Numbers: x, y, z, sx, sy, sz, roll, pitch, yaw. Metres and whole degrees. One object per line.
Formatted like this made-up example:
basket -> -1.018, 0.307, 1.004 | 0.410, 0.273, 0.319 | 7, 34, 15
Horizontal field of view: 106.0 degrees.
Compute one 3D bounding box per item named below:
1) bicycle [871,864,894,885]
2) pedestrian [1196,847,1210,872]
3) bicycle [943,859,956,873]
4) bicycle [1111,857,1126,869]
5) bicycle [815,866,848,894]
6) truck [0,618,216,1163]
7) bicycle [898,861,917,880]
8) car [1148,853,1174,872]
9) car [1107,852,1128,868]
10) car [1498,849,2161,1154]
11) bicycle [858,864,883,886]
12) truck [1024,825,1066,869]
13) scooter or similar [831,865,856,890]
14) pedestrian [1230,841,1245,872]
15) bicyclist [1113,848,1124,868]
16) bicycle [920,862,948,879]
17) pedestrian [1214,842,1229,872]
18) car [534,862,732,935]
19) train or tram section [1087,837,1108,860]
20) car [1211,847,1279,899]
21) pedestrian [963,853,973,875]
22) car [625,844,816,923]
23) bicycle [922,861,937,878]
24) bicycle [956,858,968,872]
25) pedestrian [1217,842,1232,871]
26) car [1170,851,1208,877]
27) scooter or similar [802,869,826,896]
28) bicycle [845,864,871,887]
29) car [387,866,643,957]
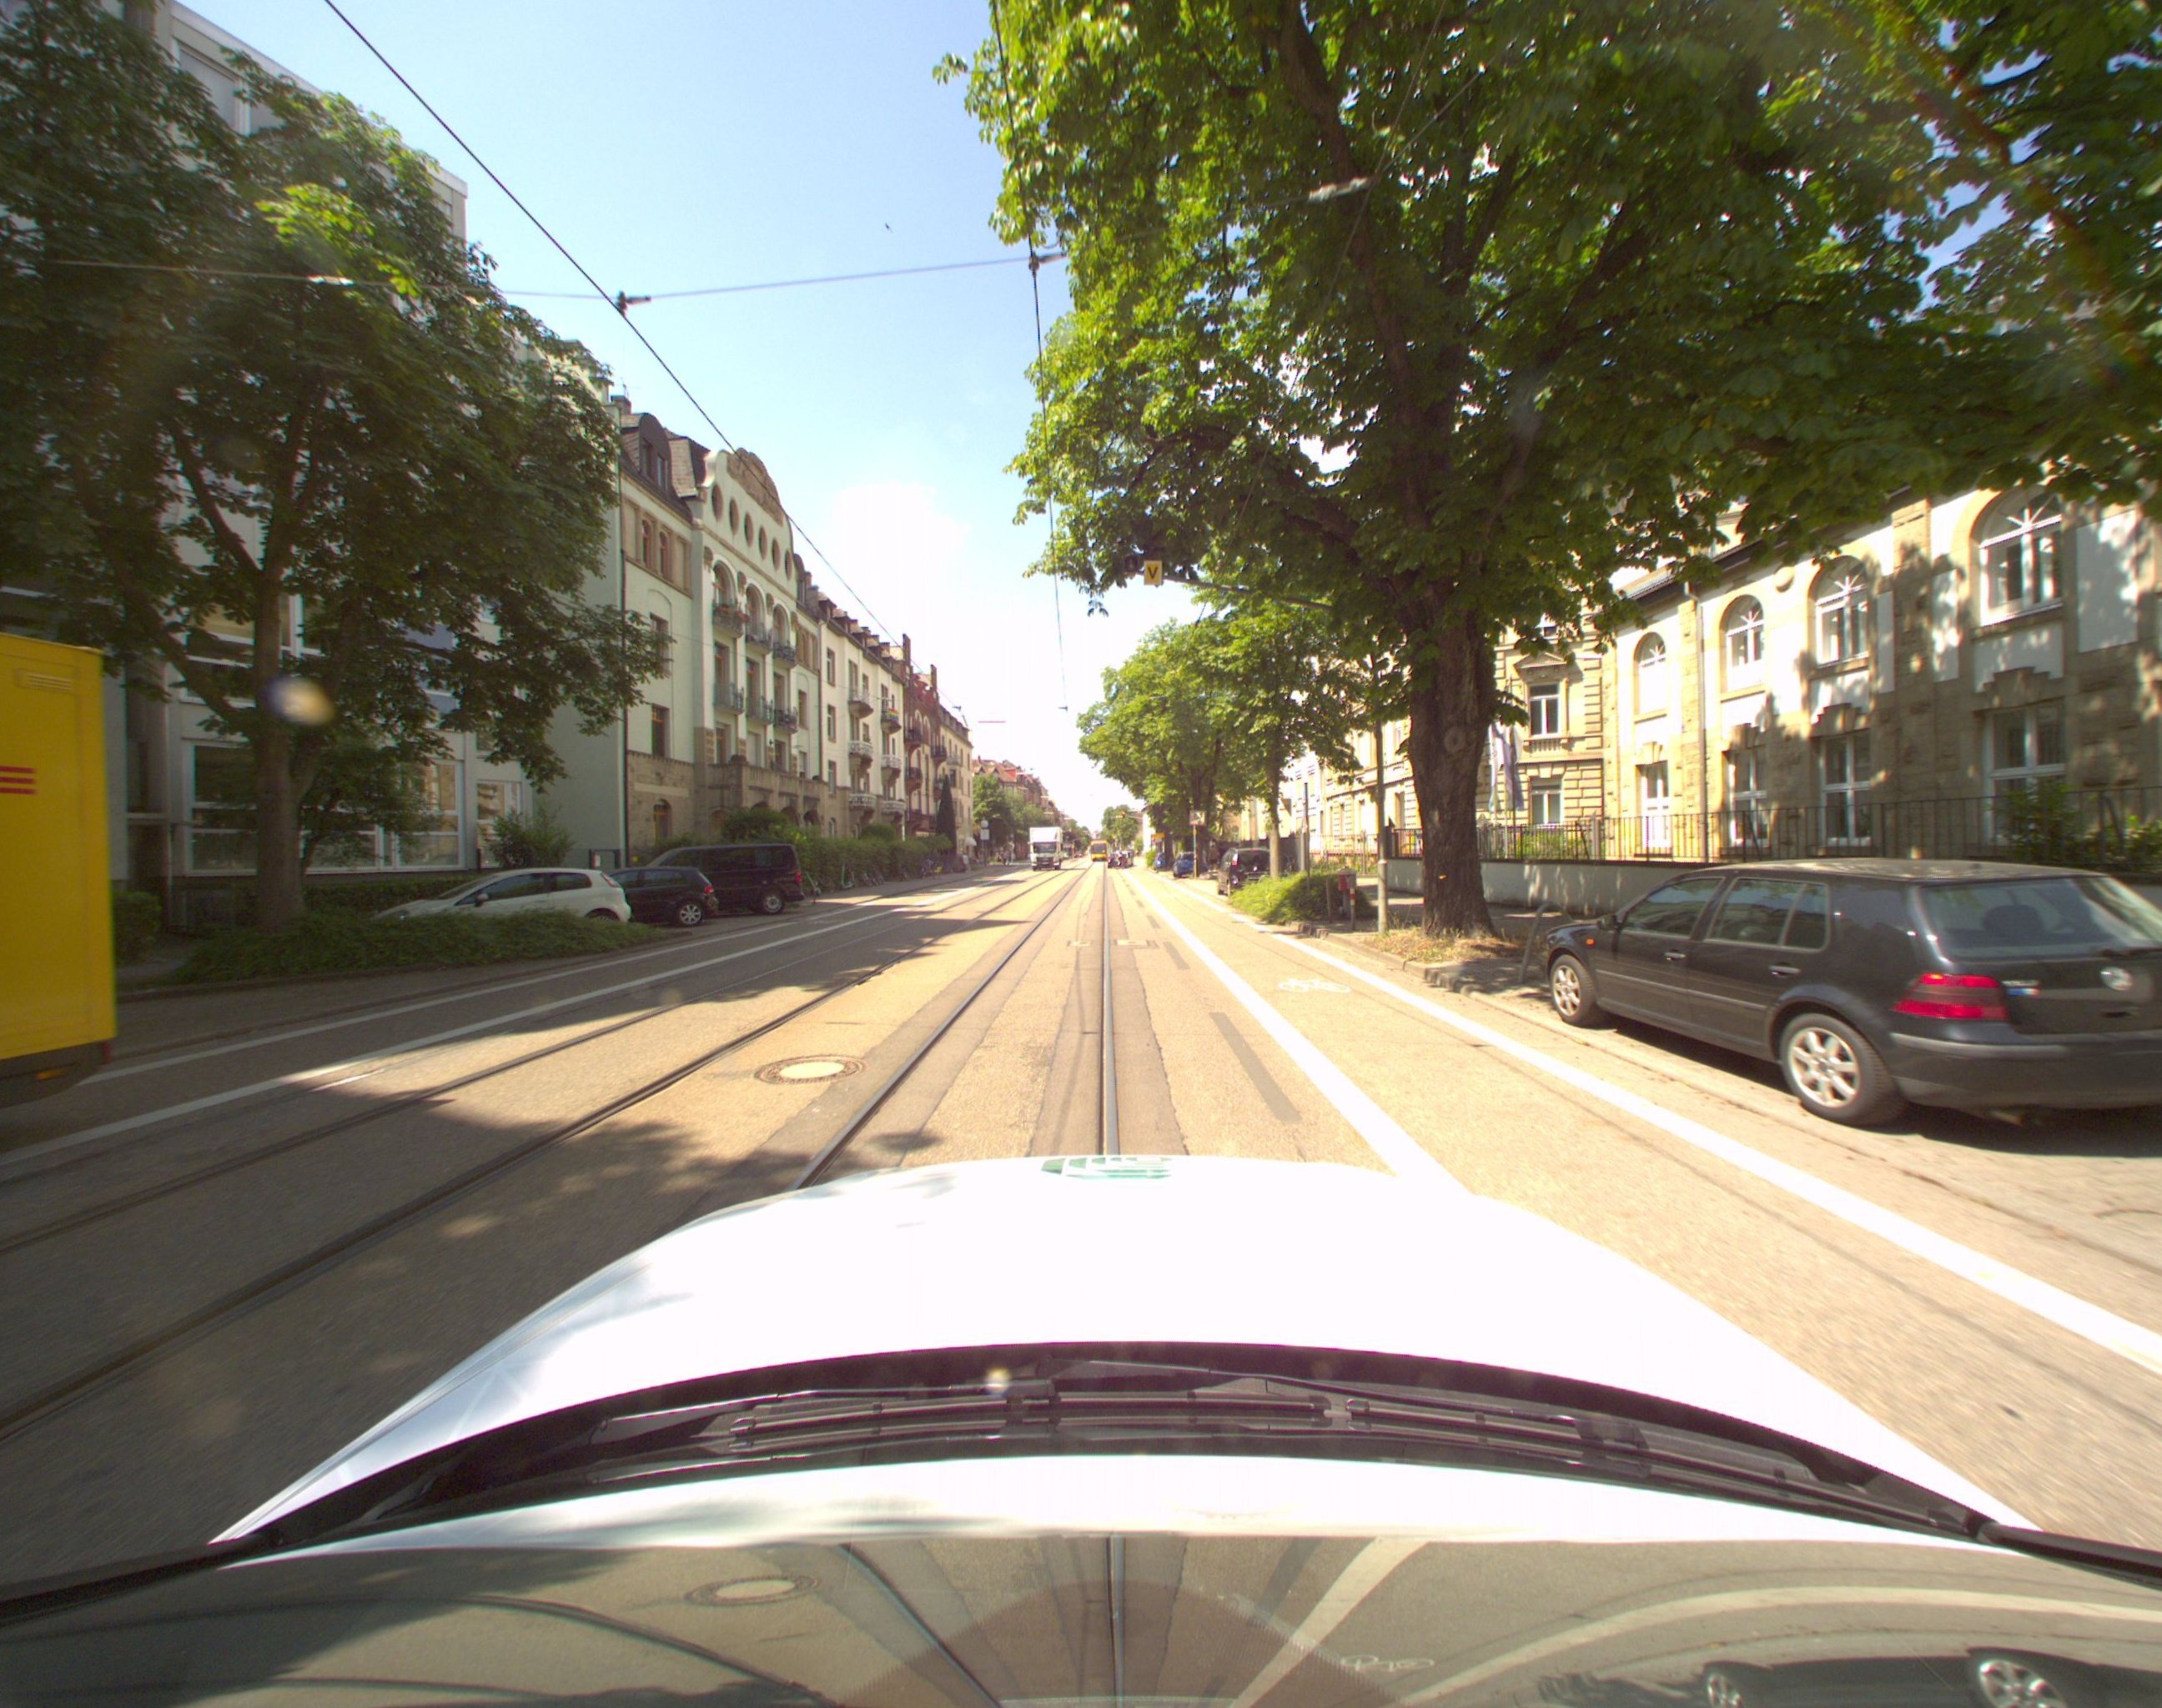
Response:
bicycle -> -9.591, 0.992, 39.464 | 0.541, 0.969, 1.990 | 1, -1, 2
pedestrian -> 7.749, 0.346, 51.742 | 0.802, 1.530, 0.626 | -1, -2, 19
bicycle -> -9.141, 0.821, 56.774 | 0.541, 0.969, 1.782 | 1, 0, 2
bicycle -> 3.126, 0.765, 67.943 | 0.641, 0.969, 1.768 | 1, -1, -22
bicycle -> -9.780, 1.002, 31.978 | 0.541, 0.969, 2.250 | 1, 1, 2
truck -> -6.959, 0.244, 1.584 | 2.351, 2.852, 7.383 | -2, 0, 3
bicycle -> -9.459, 0.892, 44.514 | 0.541, 0.969, 1.991 | 1, 1, 2
car -> 6.420, 0.638, 65.658 | 1.705, 1.423, 4.310 | -2, 0, 1
car -> 3.274, 0.549, 73.370 | 1.774, 1.345, 3.417 | -1, 0, 2
car -> 5.018, 0.713, 6.035 | 1.705, 1.423, 4.244 | -2, 0, 1
bicycle -> -9.652, 0.971, 37.451 | 0.541, 0.969, 1.991 | 1, 0, 2
truck -> -2.984, -0.628, 70.400 | 2.928, 3.550, 8.456 | -1, 0, 2
scooter or similar -> -9.839, 0.951, 33.829 | 0.541, 0.969, 1.500 | 1, 0, 2
pedestrian -> 9.716, 0.169, 50.539 | 0.806, 1.860, 0.623 | -1, -2, -1
bicyclist -> 3.105, 0.339, 67.987 | 0.624, 1.616, 0.858 | 1, -2, -22
bicycle -> -8.500, 0.934, 47.113 | 0.538, 0.969, 1.792 | 0, -2, 31
pedestrian -> 8.797, 0.191, 50.885 | 0.806, 1.860, 0.576 | -1, -2, -1
car -> -10.434, 0.976, 19.080 | 3.830, 1.456, 1.615 | -1, -1, -39
train or tram section -> 2.611, -0.835, 126.199 | 3.023, 3.438, 11.977 | -1, 0, 2
car -> 5.581, 0.624, 28.162 | 1.586, 1.616, 3.908 | -2, 0, 1
pedestrian -> -8.402, 0.708, 60.410 | 0.570, 1.615, 0.817 | -1, 0, 2
car -> -9.787, 0.737, 22.289 | 4.508, 1.940, 1.685 | -1, -1, -37
bicycle -> -9.282, 0.944, 50.017 | 0.541, 0.969, 1.782 | 1, 1, 2
bicycle -> -8.952, 0.807, 61.171 | 0.541, 0.969, 1.782 | 1, 1, 2
pedestrian -> 9.225, 0.148, 52.366 | 0.806, 1.860, 0.623 | -1, -2, -1
car -> 6.243, 0.565, 47.361 | 1.705, 1.423, 4.310 | -2, 0, 1
scooter or similar -> -9.814, 1.046, 29.959 | 0.541, 0.969, 0.958 | 1, 0, 2
bicycle -> -9.698, 0.942, 35.497 | 0.541, 0.969, 1.823 | 1, -1, 2
car -> -10.820, 1.006, 15.729 | 3.834, 1.456, 1.683 | -1, -1, -44
